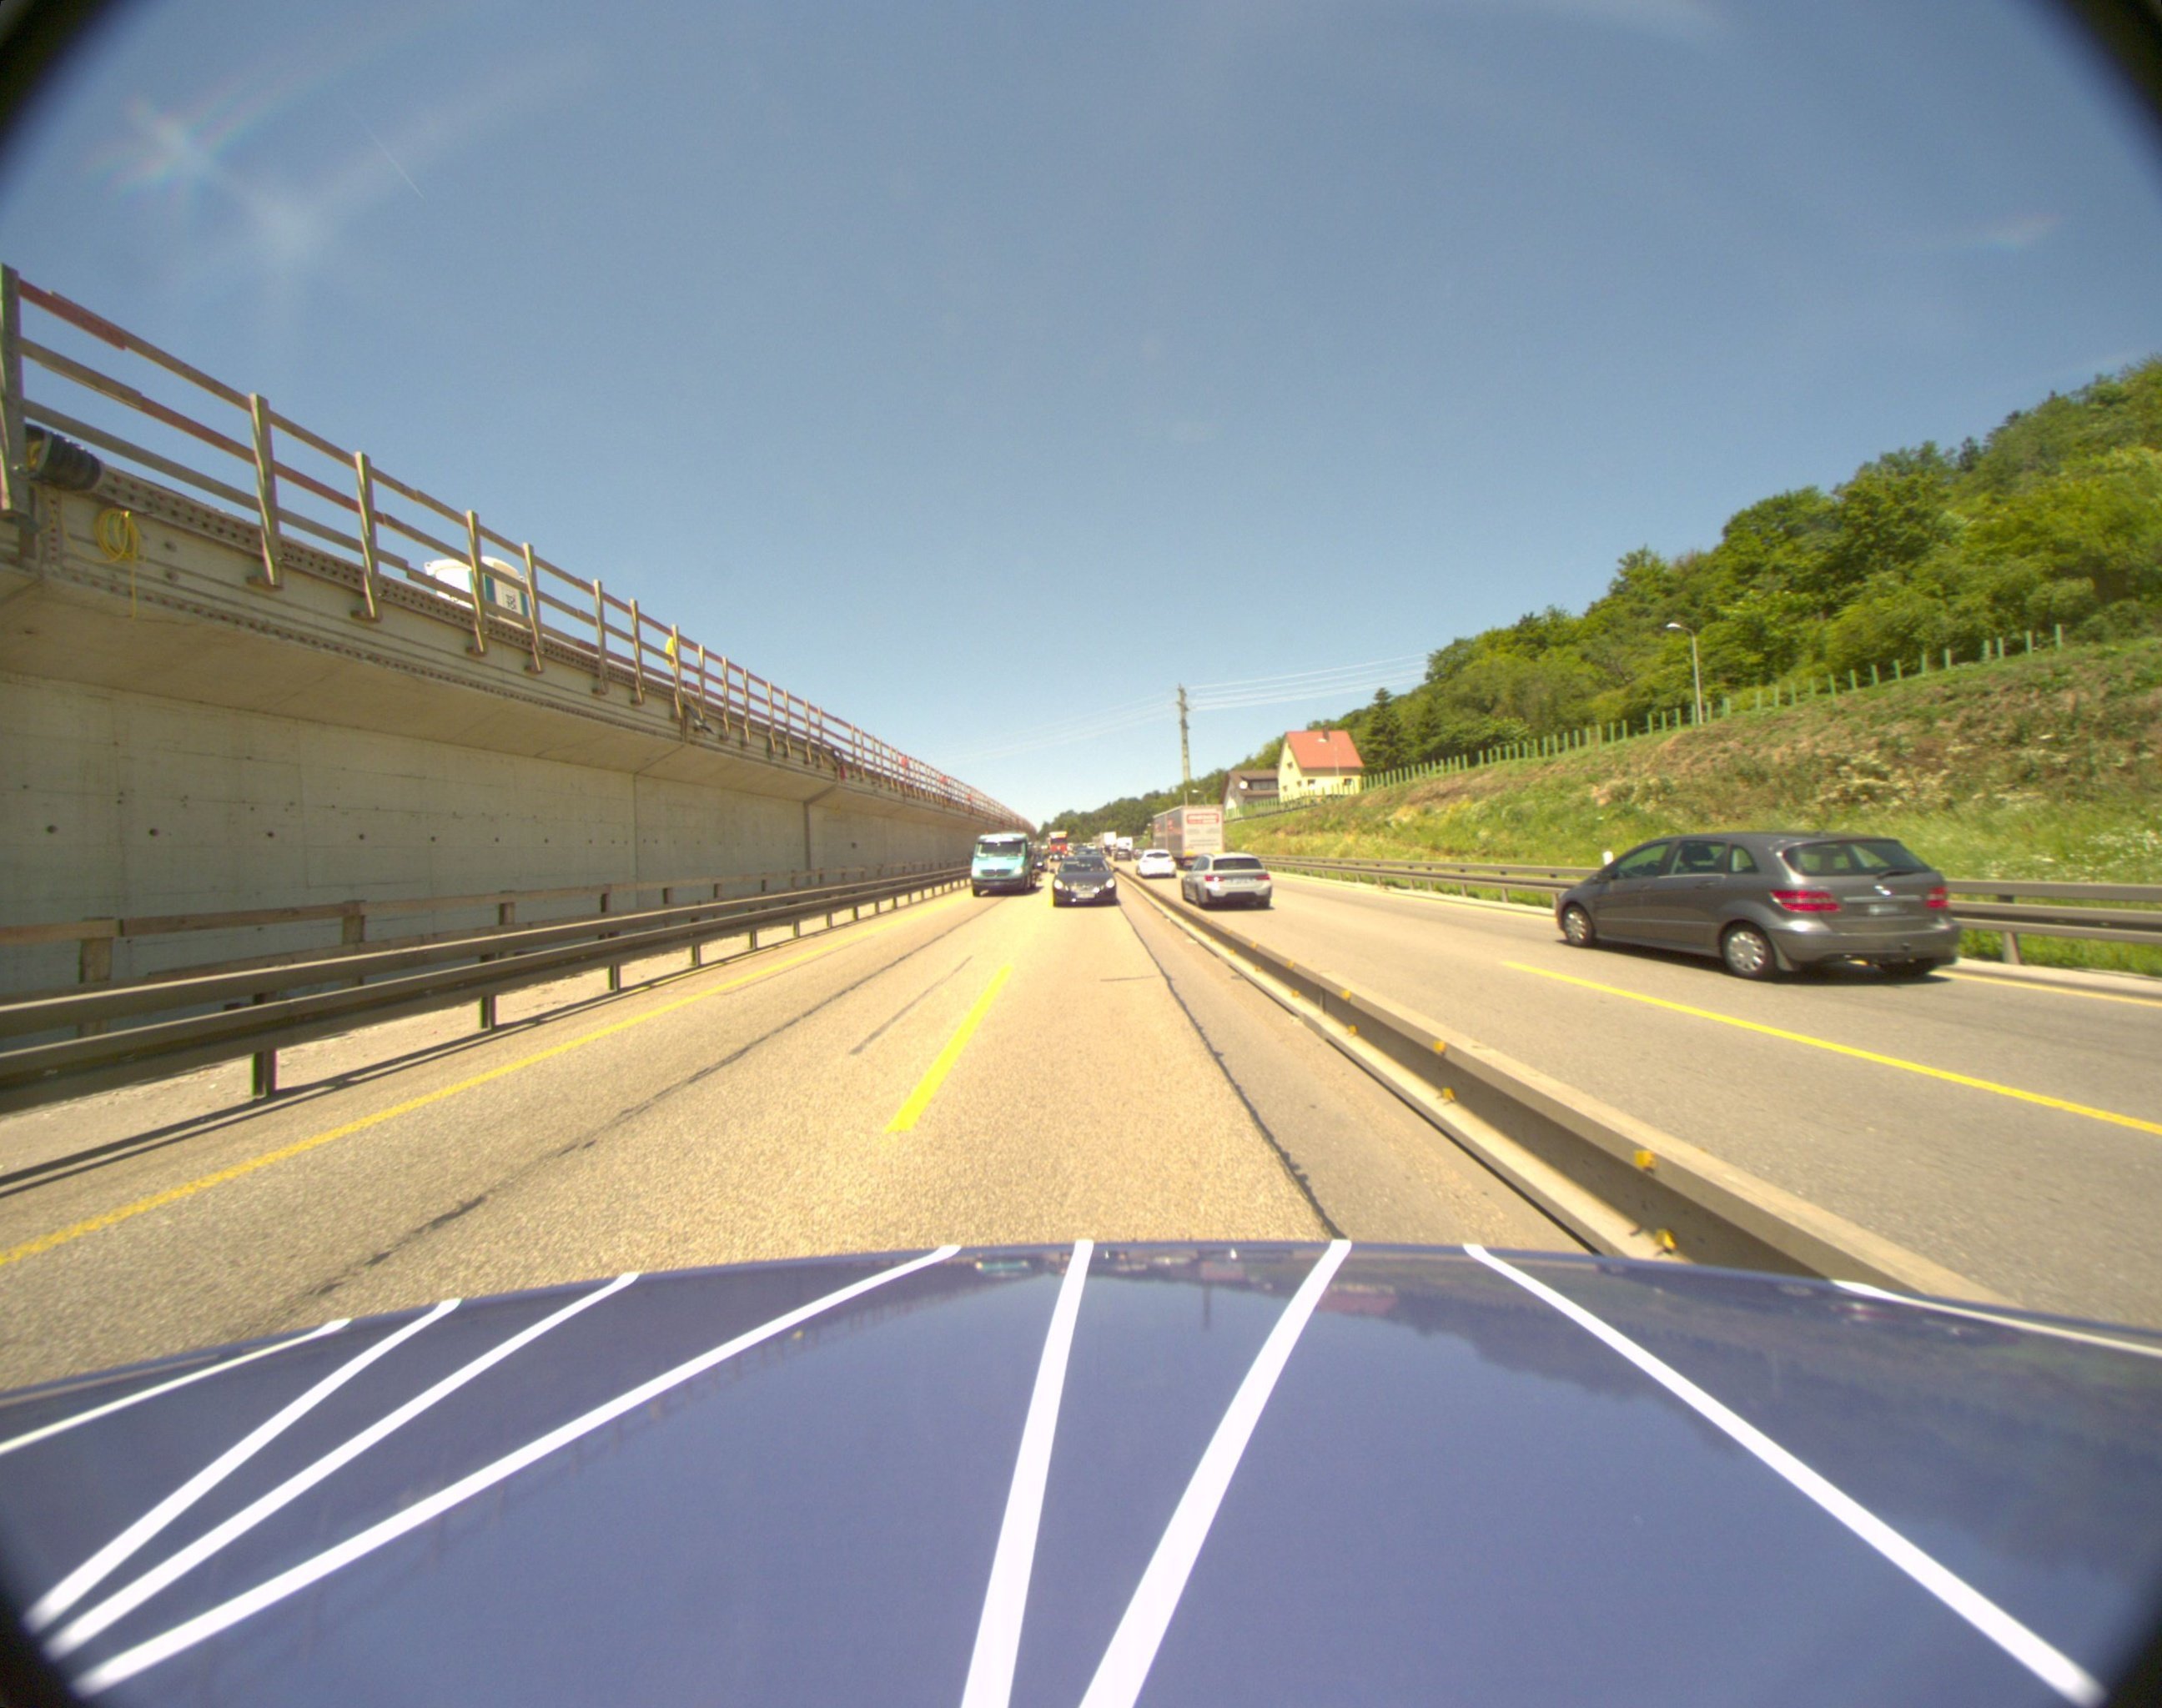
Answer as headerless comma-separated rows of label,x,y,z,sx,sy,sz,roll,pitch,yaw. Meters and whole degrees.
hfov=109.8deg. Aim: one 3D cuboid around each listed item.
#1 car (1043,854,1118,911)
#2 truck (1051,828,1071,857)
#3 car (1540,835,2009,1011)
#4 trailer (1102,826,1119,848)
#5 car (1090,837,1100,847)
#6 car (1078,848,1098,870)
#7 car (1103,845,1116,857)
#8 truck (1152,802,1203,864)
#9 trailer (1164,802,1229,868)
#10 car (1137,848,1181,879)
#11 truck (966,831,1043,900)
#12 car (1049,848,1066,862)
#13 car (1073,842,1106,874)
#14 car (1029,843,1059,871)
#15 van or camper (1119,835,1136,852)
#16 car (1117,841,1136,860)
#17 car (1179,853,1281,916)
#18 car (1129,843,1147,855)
car,0.029,0.765,22.988,1.998,1.441,4.601,-2,1,1
truck,-3.040,-1.789,117.049,2.750,4.222,9.093,-2,1,0
car,7.800,0.631,9.264,1.777,1.573,4.285,-3,0,0
trailer,6.436,-3.733,168.226,3.111,4.416,14.625,-2,1,0
car,3.035,-2.646,168.595,1.999,2.002,4.165,-2,1,-1
car,0.736,0.523,84.377,1.998,2.003,3.998,-5,3,0
car,4.389,-0.494,115.904,1.875,1.674,4.000,-1,1,1
truck,7.465,-1.581,60.232,2.627,4.371,10.383,-2,1,0
trailer,7.533,-1.212,50.709,2.936,3.966,8.704,-2,1,0
car,3.953,0.432,39.190,1.807,1.455,3.999,-2,1,0
truck,-2.857,0.316,30.356,2.139,2.344,7.431,-2,1,1
car,-2.918,0.091,94.676,1.883,1.532,4.280,-2,1,0
car,0.549,0.209,46.971,1.884,1.805,4.250,-2,1,2
car,-2.628,0.188,54.485,1.885,1.805,4.249,-2,1,0
van or camper,7.751,-1.795,127.629,2.356,2.619,6.901,-2,1,1
car,4.928,-0.384,82.784,1.854,1.879,4.501,-2,0,0
car,3.832,0.715,20.340,1.834,1.425,4.629,-1,0,0
car,7.348,-0.671,97.826,1.998,1.499,5.299,-2,1,1
